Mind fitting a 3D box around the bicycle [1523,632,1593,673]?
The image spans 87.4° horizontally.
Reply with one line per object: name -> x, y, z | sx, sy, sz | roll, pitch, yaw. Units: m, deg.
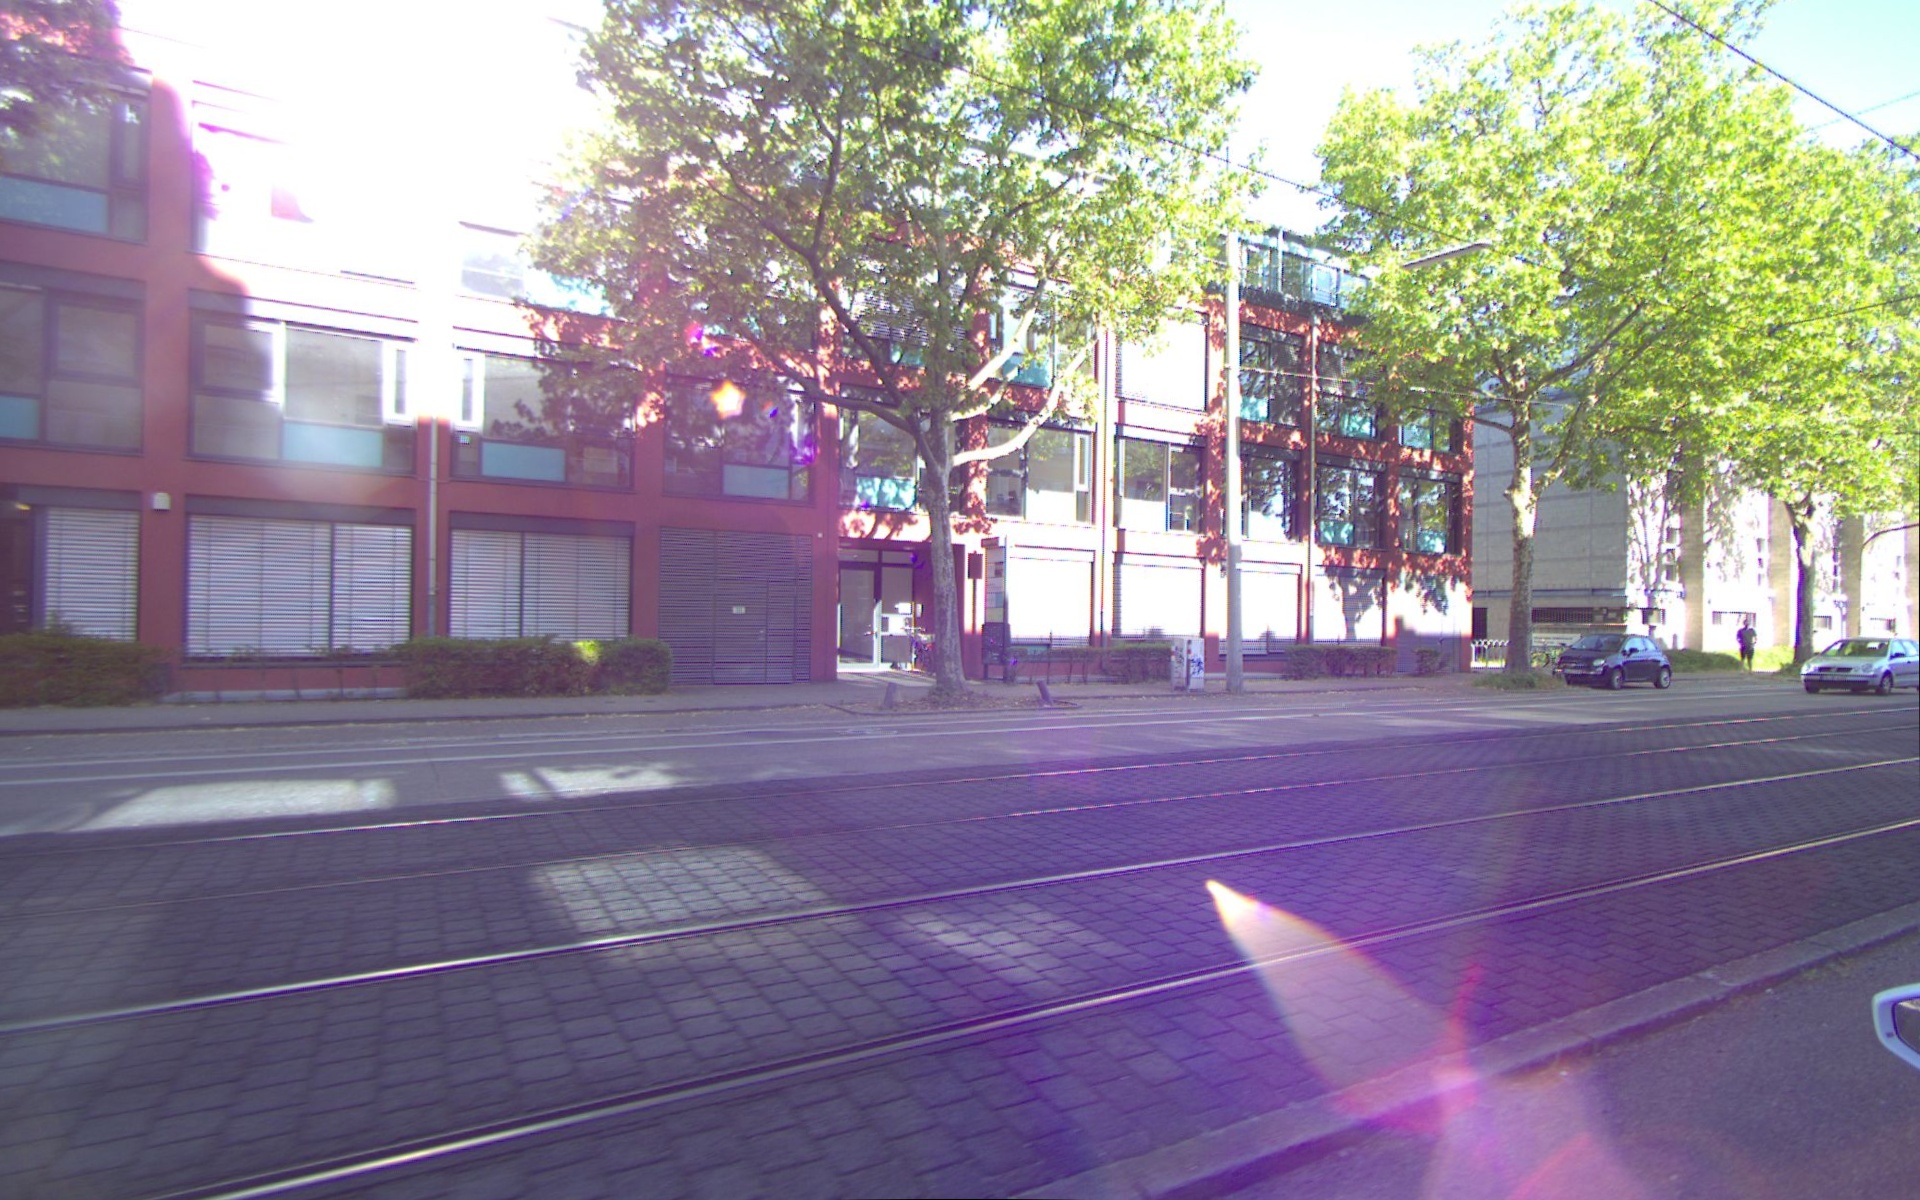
bicycle -> 20.697, 1.802, 34.798 | 0.656, 1.295, 1.999 | 1, 1, -29

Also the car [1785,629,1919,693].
car -> 23.451, 1.571, 26.035 | 4.019, 1.538, 1.747 | 2, -3, -28

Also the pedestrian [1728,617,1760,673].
pedestrian -> 27.406, 1.569, 35.119 | 0.774, 1.895, 0.669 | 2, 1, 33

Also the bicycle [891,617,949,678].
bicycle -> -0.979, 1.099, 23.974 | 0.610, 1.289, 2.055 | 1, 1, -25

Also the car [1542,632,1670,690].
car -> 17.617, 1.637, 27.381 | 3.421, 1.473, 1.501 | 1, -1, -29

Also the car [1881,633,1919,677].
car -> 38.318, 2.145, 39.415 | 4.640, 1.594, 2.001 | 1, 1, -31
